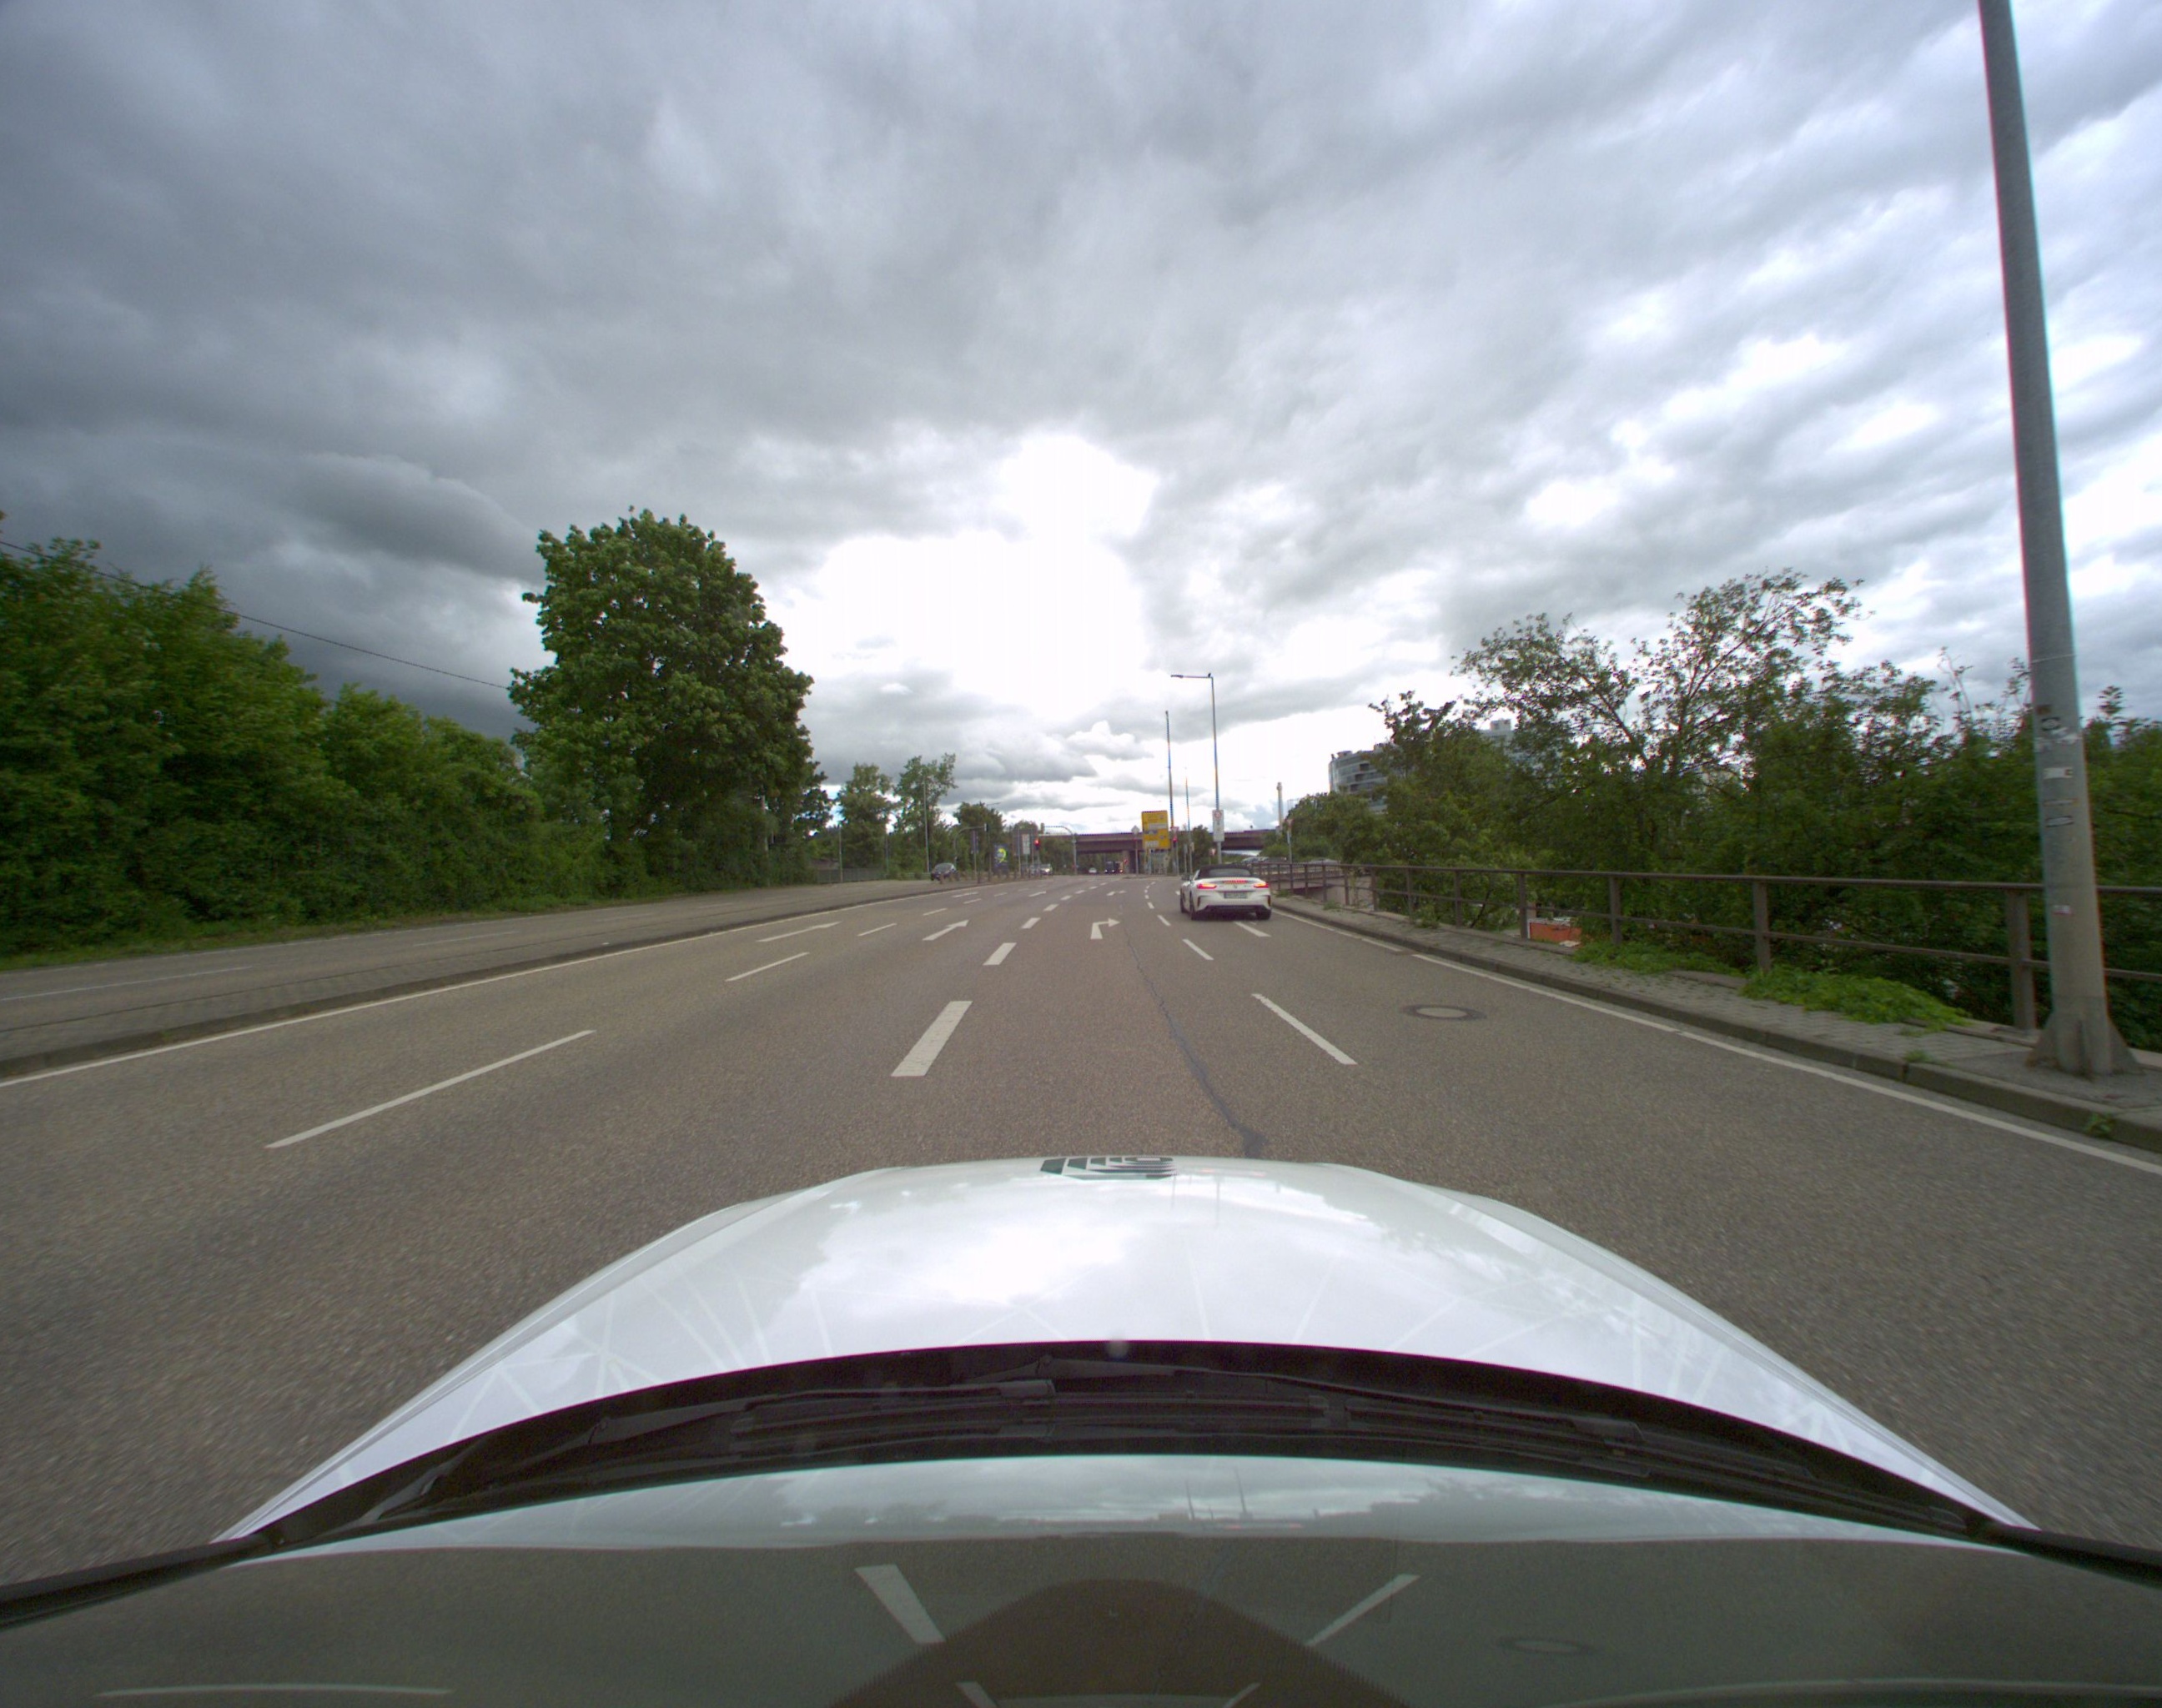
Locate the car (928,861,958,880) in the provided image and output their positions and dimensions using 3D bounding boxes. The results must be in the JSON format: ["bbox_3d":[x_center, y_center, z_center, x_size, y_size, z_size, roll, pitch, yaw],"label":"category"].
[{"bbox_3d":[-11.420,1.349,67.671,1.753,1.484,3.486,0,-1,3],"label":"car"}]

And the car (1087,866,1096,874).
[{"bbox_3d":[2.469,3.689,187.938,1.733,1.537,3.675,-1,0,3],"label":"car"}]

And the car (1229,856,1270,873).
[{"bbox_3d":[19.138,1.210,92.743,4.349,1.758,2.003,-3,-3,6],"label":"car"}]

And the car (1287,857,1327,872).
[{"bbox_3d":[27.727,1.280,99.942,4.349,1.571,2.003,-3,-3,6],"label":"car"}]

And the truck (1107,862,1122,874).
[{"bbox_3d":[9.204,3.773,223.747,2.905,3.146,10.139,0,-1,10],"label":"truck"}]

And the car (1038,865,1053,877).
[{"bbox_3d":[-4.981,2.364,114.373,1.764,1.633,3.826,0,-1,2],"label":"car"}]

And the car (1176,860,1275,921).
[{"bbox_3d":[3.464,0.828,20.235,1.868,1.309,3.874,-1,0,1],"label":"car"}]

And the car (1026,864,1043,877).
[{"bbox_3d":[-6.087,2.119,106.473,1.764,1.645,3.826,0,-1,2],"label":"car"}]
